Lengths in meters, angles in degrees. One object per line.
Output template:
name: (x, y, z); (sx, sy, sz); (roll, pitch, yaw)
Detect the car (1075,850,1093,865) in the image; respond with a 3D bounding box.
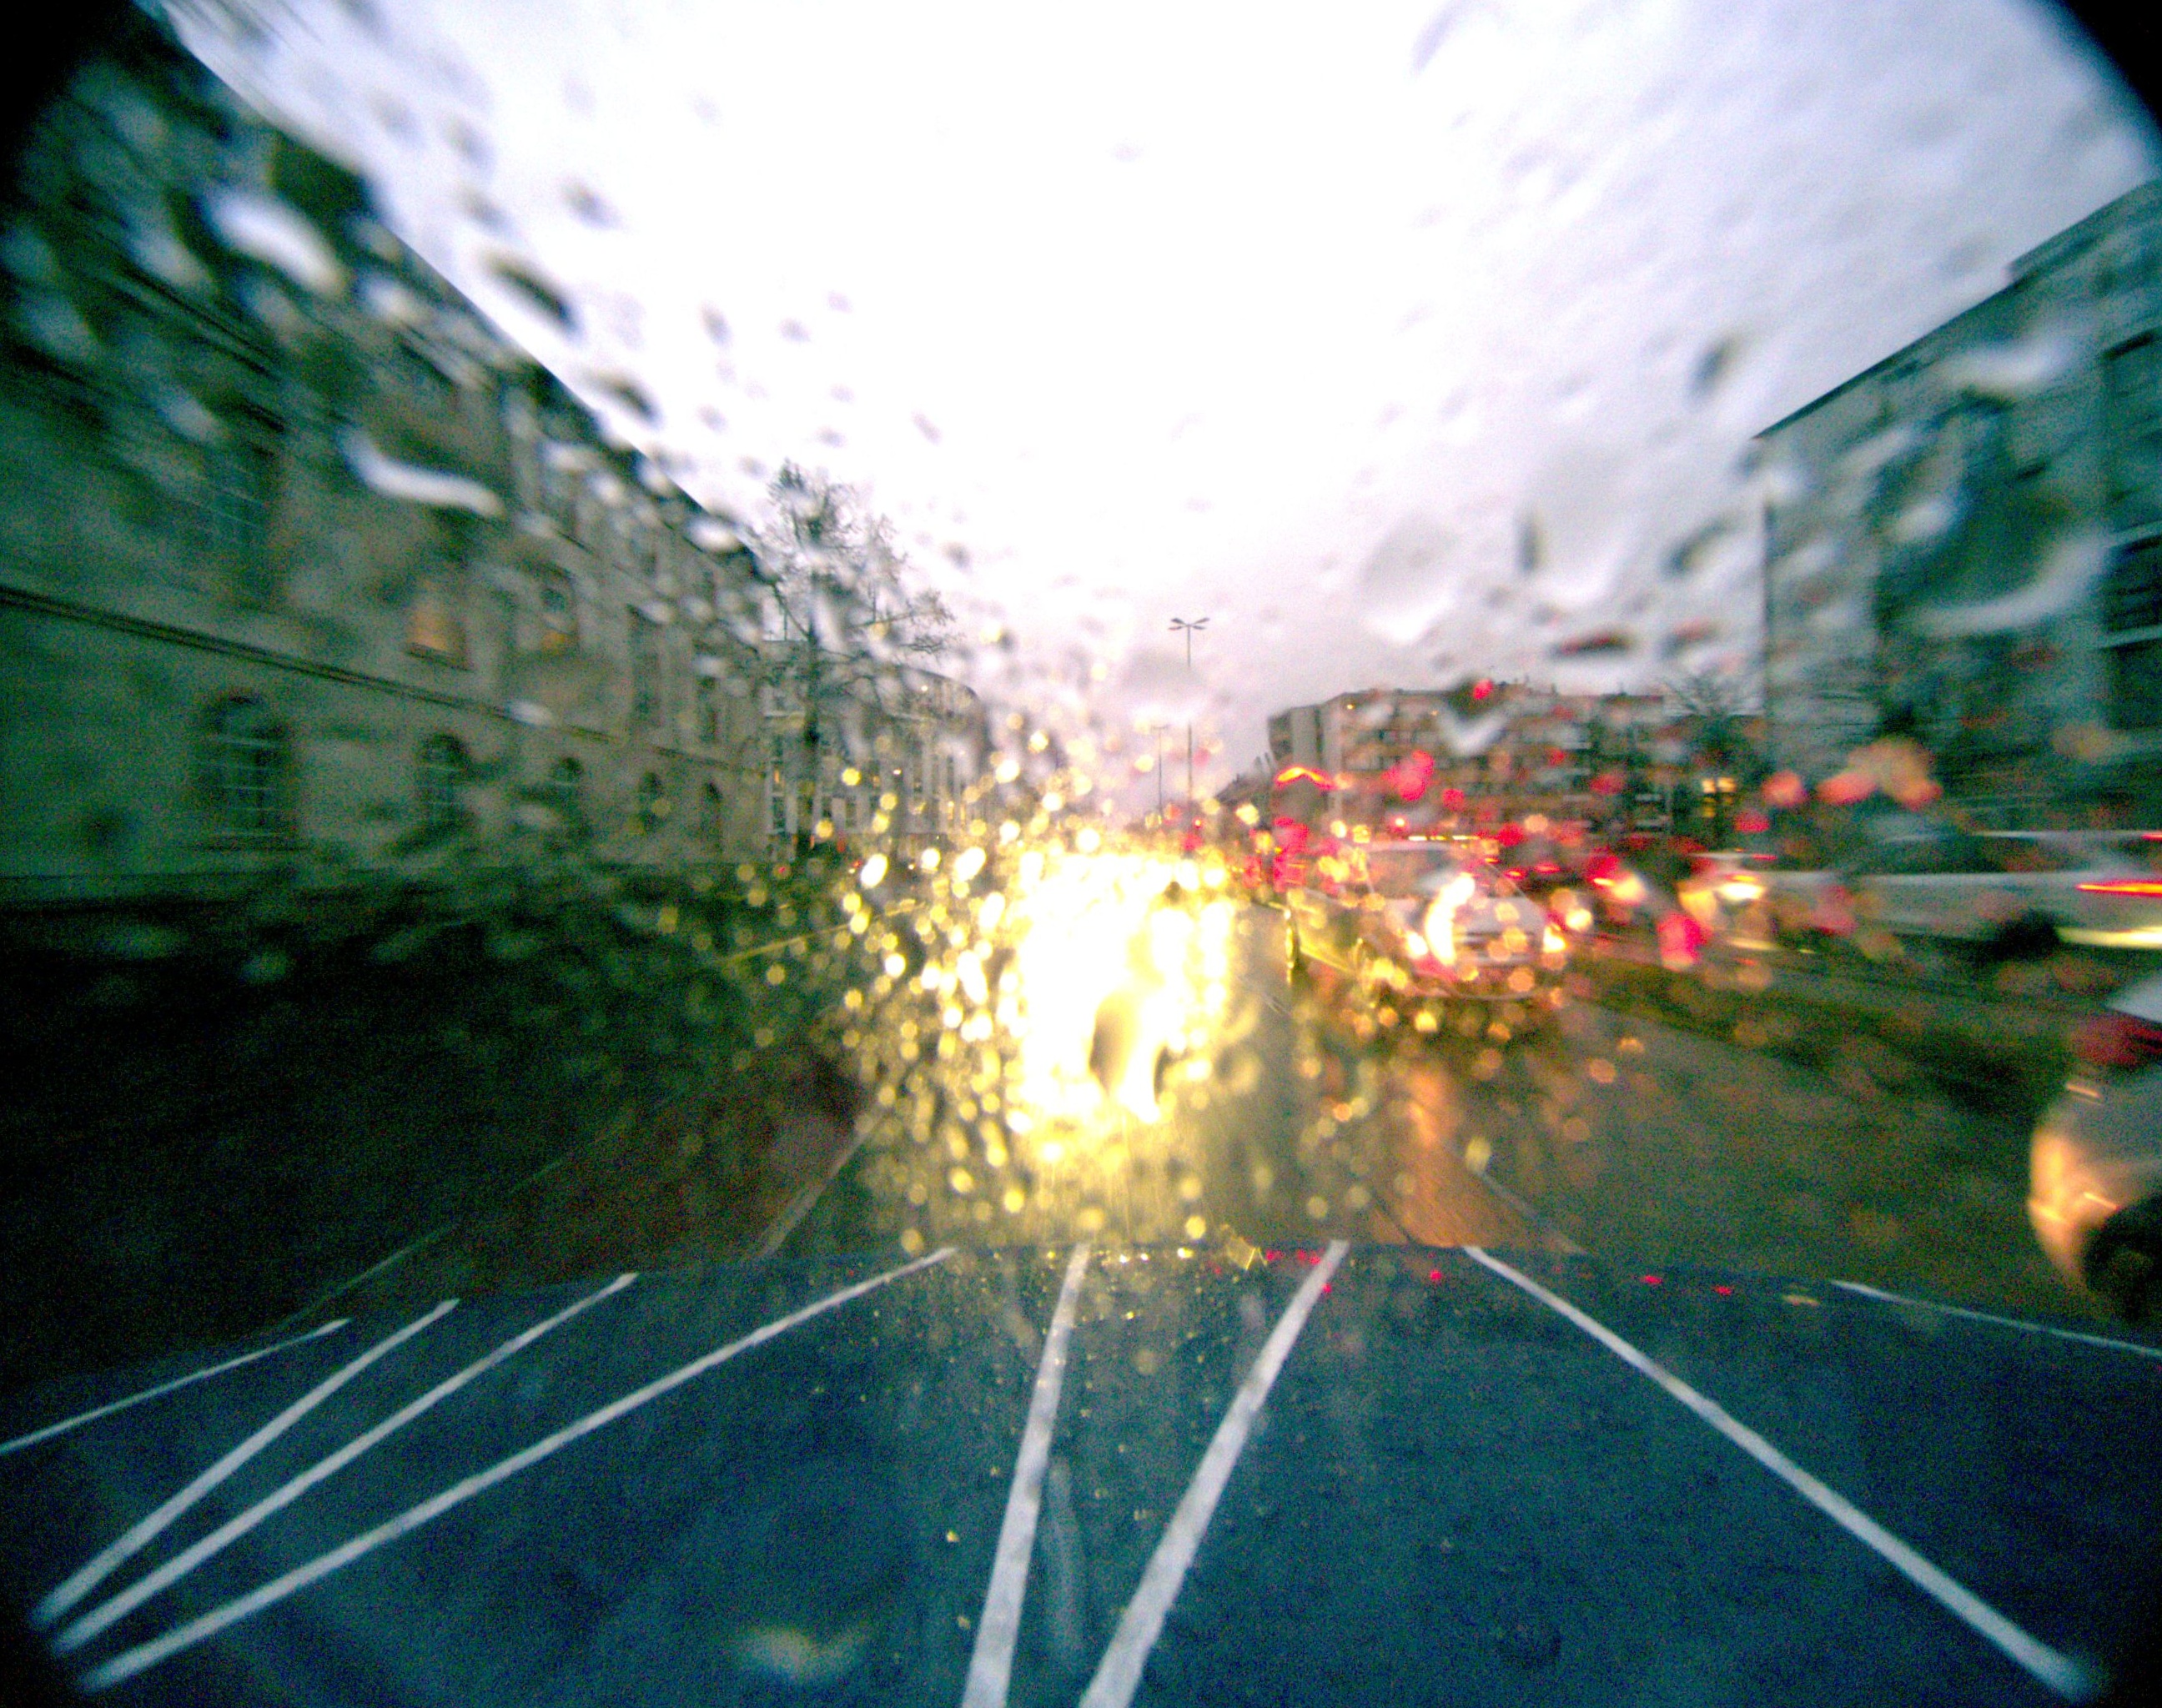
car: (0.373, 0.388, 90.760); (1.998, 1.693, 4.000); (-2, 0, 1)

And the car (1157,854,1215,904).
car: (3.431, 0.764, 25.414); (1.752, 1.535, 4.001); (0, 0, 5)

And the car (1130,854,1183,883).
car: (4.891, 0.877, 48.803); (1.815, 1.732, 4.194); (0, 0, 29)

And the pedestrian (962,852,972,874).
pedestrian: (-8.501, 0.655, 56.746); (0.656, 1.579, 0.562); (-2, 0, -8)

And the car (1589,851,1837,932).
car: (14.264, 0.769, 17.584); (1.967, 1.630, 4.534); (0, 0, 0)

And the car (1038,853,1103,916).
car: (-0.301, 0.789, 21.793); (1.649, 1.575, 3.804); (-2, 1, -1)

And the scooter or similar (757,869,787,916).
scooter or similar: (-8.240, 1.018, 20.289); (0.442, 1.196, 1.080); (-2, 0, -8)

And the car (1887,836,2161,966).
car: (14.021, 0.551, 10.503); (1.793, 1.572, 3.803); (-1, 1, 2)

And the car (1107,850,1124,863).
car: (4.434, 0.285, 96.938); (1.998, 1.599, 4.000); (-2, 0, 1)

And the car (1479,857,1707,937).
car: (10.900, 0.829, 16.685); (1.967, 1.505, 4.534); (0, 0, 0)

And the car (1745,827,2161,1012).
car: (11.305, 0.634, 9.553); (1.967, 1.772, 4.534); (0, 0, 0)

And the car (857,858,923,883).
car: (-14.187, 1.200, 56.653); (4.566, 1.708, 1.725); (-2, 0, -8)

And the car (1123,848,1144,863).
car: (5.746, 0.147, 83.323); (1.998, 1.599, 4.000); (-2, 0, 1)

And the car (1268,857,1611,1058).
car: (3.387, 0.838, 8.142); (1.649, 1.539, 4.108); (-1, 0, -1)

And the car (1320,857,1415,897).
car: (10.906, 0.827, 29.307); (1.967, 1.378, 4.534); (0, 0, 0)

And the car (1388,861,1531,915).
car: (10.913, 0.913, 22.330); (1.967, 1.378, 4.534); (0, 0, 0)

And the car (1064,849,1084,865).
car: (-0.759, 0.295, 84.130); (1.998, 1.686, 4.000); (-2, 0, 1)

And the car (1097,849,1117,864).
car: (2.847, 0.270, 83.802); (1.998, 1.526, 4.000); (-2, 0, 1)
